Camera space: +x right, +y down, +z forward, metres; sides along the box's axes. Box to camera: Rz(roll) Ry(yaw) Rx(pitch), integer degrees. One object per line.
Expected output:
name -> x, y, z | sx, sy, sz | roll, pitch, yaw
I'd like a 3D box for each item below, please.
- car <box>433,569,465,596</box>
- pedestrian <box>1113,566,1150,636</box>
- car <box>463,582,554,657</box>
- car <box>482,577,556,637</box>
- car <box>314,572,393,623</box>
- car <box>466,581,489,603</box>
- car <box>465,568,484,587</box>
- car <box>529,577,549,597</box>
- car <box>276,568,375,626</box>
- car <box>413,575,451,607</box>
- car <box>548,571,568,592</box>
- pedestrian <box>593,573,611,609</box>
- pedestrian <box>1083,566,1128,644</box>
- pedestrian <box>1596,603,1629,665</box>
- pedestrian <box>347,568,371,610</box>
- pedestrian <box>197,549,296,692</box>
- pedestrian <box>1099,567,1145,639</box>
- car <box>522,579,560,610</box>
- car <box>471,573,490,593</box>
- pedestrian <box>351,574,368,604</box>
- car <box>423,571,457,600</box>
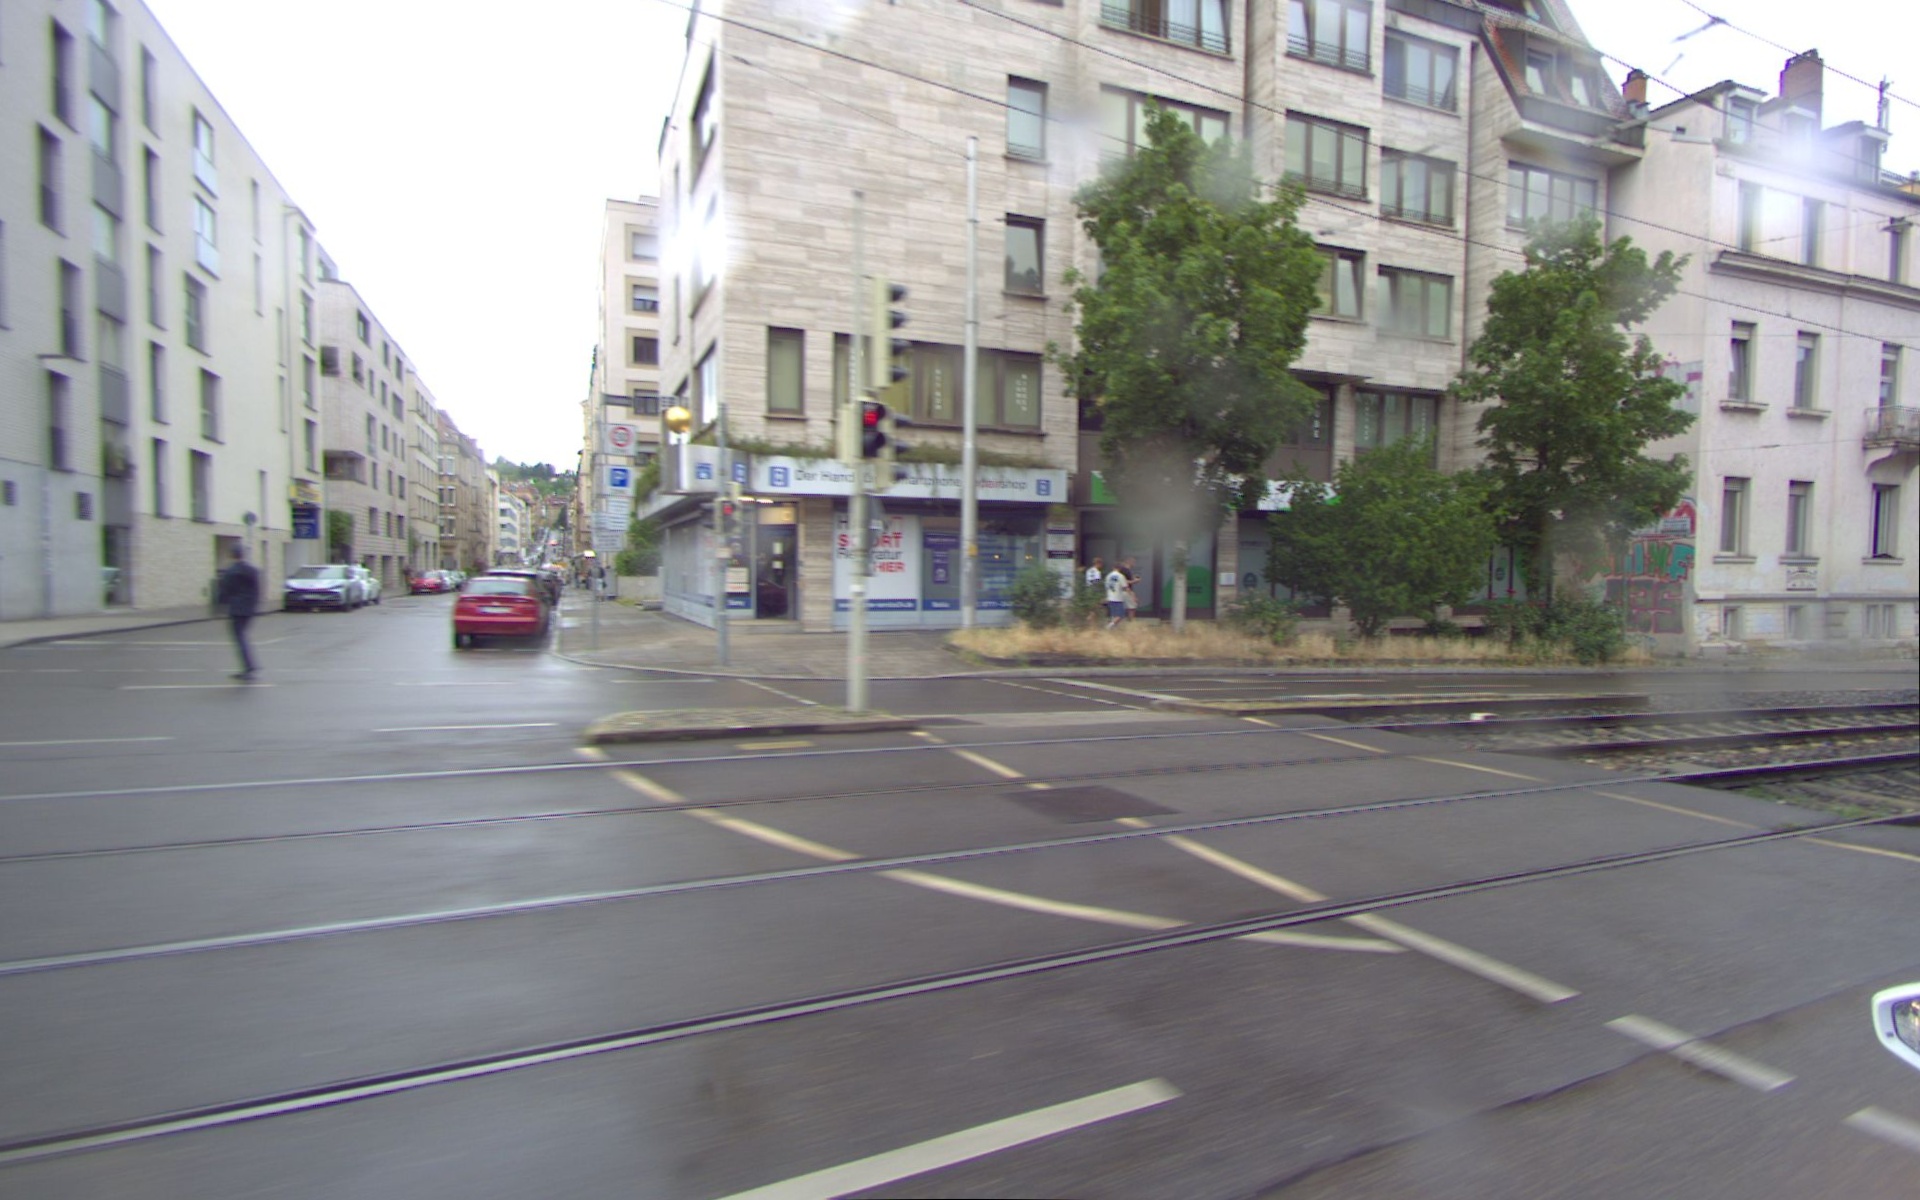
car -> -35.869, -1.266, 70.554 | 1.777, 1.617, 3.974 | 3, 3, -25
pedestrian -> 4.100, 0.019, 24.076 | 0.578, 1.619, 0.502 | 3, 3, -24
car -> -9.646, 0.363, 21.465 | 1.572, 1.335, 3.682 | 3, 1, -25
car -> -11.395, 0.139, 26.078 | 1.571, 1.335, 3.685 | 3, 1, -23
car -> -23.552, -0.138, 39.143 | 1.774, 1.617, 3.981 | 3, 3, -20
car -> -42.385, -0.718, 88.292 | 1.630, 1.594, 3.428 | 3, 3, -24
car -> -46.594, -2.125, 96.393 | 1.390, 1.594, 3.168 | 3, 3, -24
car -> -38.116, -1.217, 90.930 | 1.361, 1.594, 3.044 | 3, 3, -19
car -> -21.700, -0.144, 34.540 | 1.970, 1.617, 3.981 | 3, 3, -20
car -> -32.386, -0.588, 61.700 | 1.777, 1.617, 3.974 | 3, 3, -25
car -> -34.070, -1.571, 85.182 | 1.361, 1.594, 3.043 | 3, 3, -19
pedestrian -> -16.620, -0.418, 46.603 | 0.641, 1.569, 0.679 | 3, 3, -24
pedestrian -> 3.425, 0.116, 23.666 | 0.674, 1.747, 0.646 | 3, 3, -24
pedestrian -> 18.106, 0.943, 27.874 | 0.576, 1.674, 0.464 | 2, 3, -34
pedestrian -> -29.576, -0.560, 49.457 | 0.804, 1.975, 0.854 | 3, 3, -22
pedestrian -> -9.633, 0.278, 13.609 | 0.948, 1.854, 0.926 | 2, 0, -30
pedestrian -> 3.713, 0.059, 23.025 | 0.674, 1.569, 0.646 | 3, 3, -24
car -> -20.268, -0.290, 48.651 | 1.571, 1.335, 3.685 | 3, 1, -23
car -> -43.977, -1.537, 92.064 | 1.390, 1.594, 3.168 | 3, 3, -24
pedestrian -> -33.729, -0.623, 56.426 | 0.653, 1.609, 0.538 | 3, 3, -20
car -> -34.445, -0.989, 66.637 | 1.777, 1.617, 3.974 | 3, 3, -25
